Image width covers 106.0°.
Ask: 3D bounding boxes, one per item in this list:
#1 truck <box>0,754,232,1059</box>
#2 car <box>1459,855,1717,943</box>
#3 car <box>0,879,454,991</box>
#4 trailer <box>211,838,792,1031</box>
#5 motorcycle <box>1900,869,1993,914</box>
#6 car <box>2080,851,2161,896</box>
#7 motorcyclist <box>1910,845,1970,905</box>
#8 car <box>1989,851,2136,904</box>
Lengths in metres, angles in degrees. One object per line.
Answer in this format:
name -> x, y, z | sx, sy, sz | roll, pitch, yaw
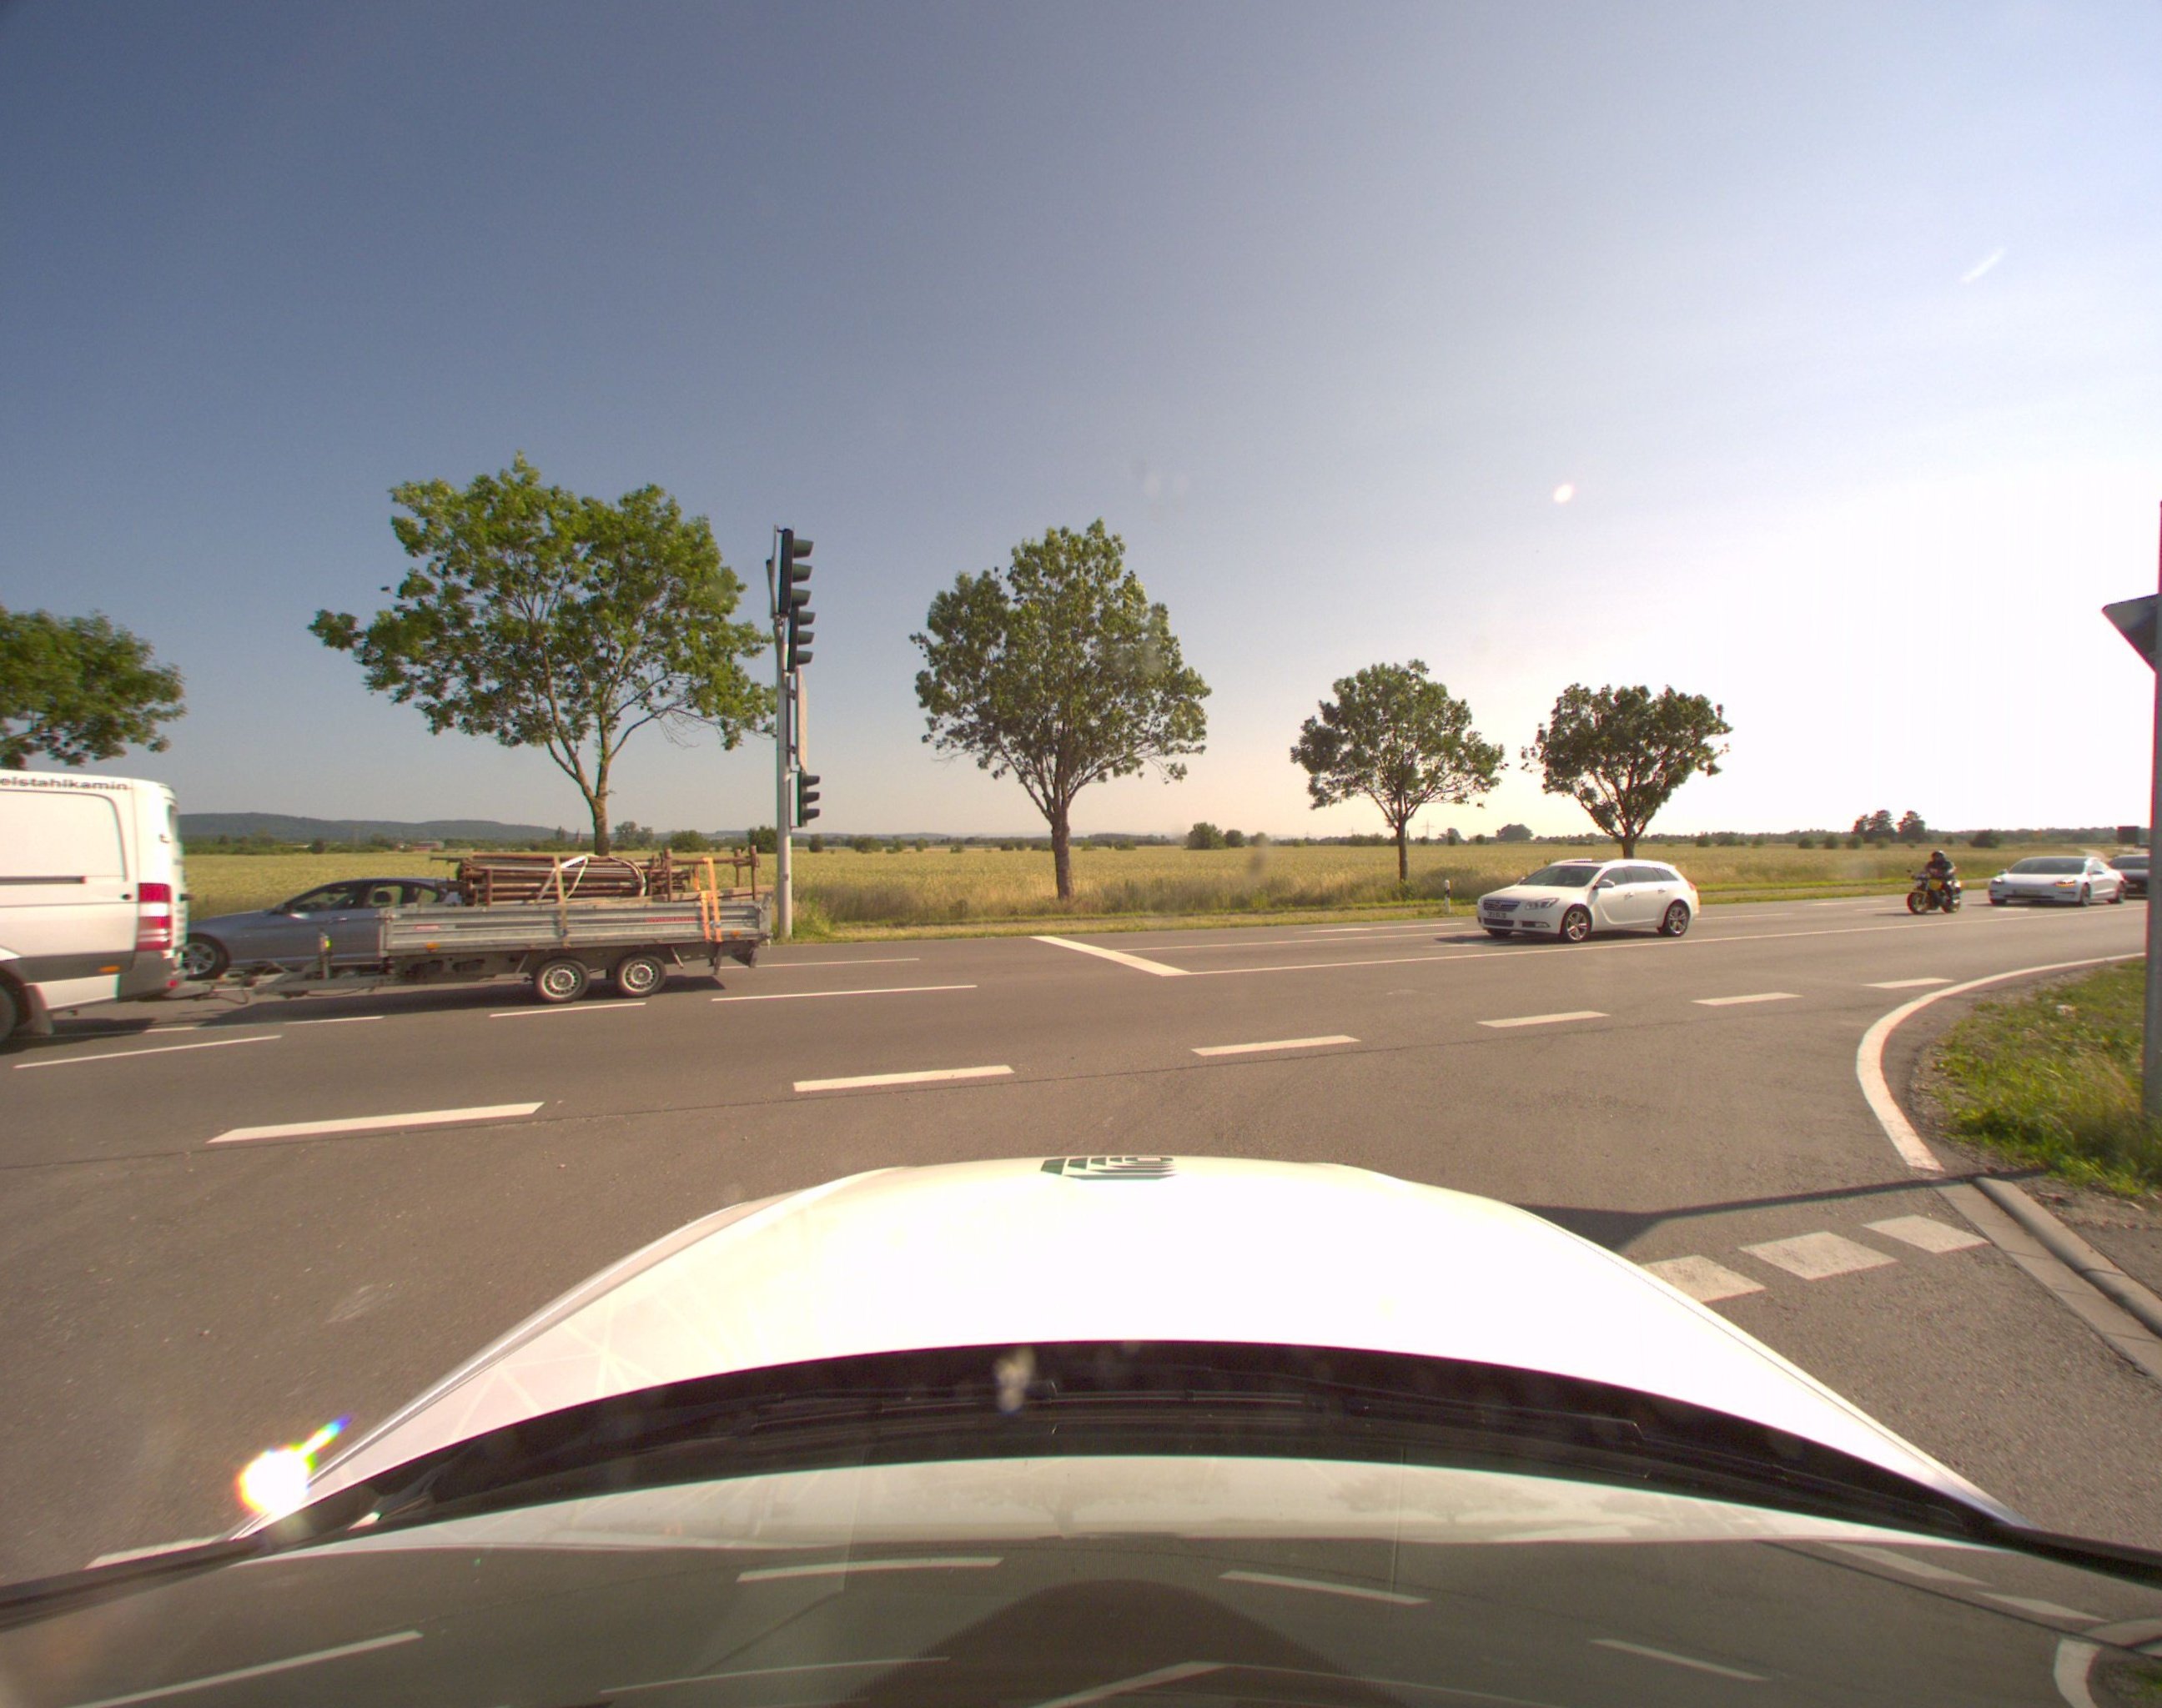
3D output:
truck -> -10.562, 0.414, 5.785 | 2.045, 2.405, 6.235 | -1, -1, 44
car -> 9.842, 0.797, 15.802 | 4.709, 1.492, 1.753 | 0, -1, -21
car -> -12.302, 1.099, 12.100 | 4.423, 1.377, 1.623 | 0, -2, -21
trailer -> -6.193, 0.747, 9.505 | 5.028, 1.738, 1.961 | 0, -1, -32
motorcycle -> 22.481, 0.950, 21.142 | 2.431, 1.044, 0.892 | -1, 0, -24
car -> 36.190, 0.621, 27.657 | 4.312, 1.461, 1.881 | 0, 0, -25
motorcyclist -> 22.207, 0.523, 21.058 | 1.182, 1.515, 0.676 | -1, 0, -23
car -> 29.426, 0.666, 24.413 | 4.284, 1.466, 1.880 | 0, 0, -26
